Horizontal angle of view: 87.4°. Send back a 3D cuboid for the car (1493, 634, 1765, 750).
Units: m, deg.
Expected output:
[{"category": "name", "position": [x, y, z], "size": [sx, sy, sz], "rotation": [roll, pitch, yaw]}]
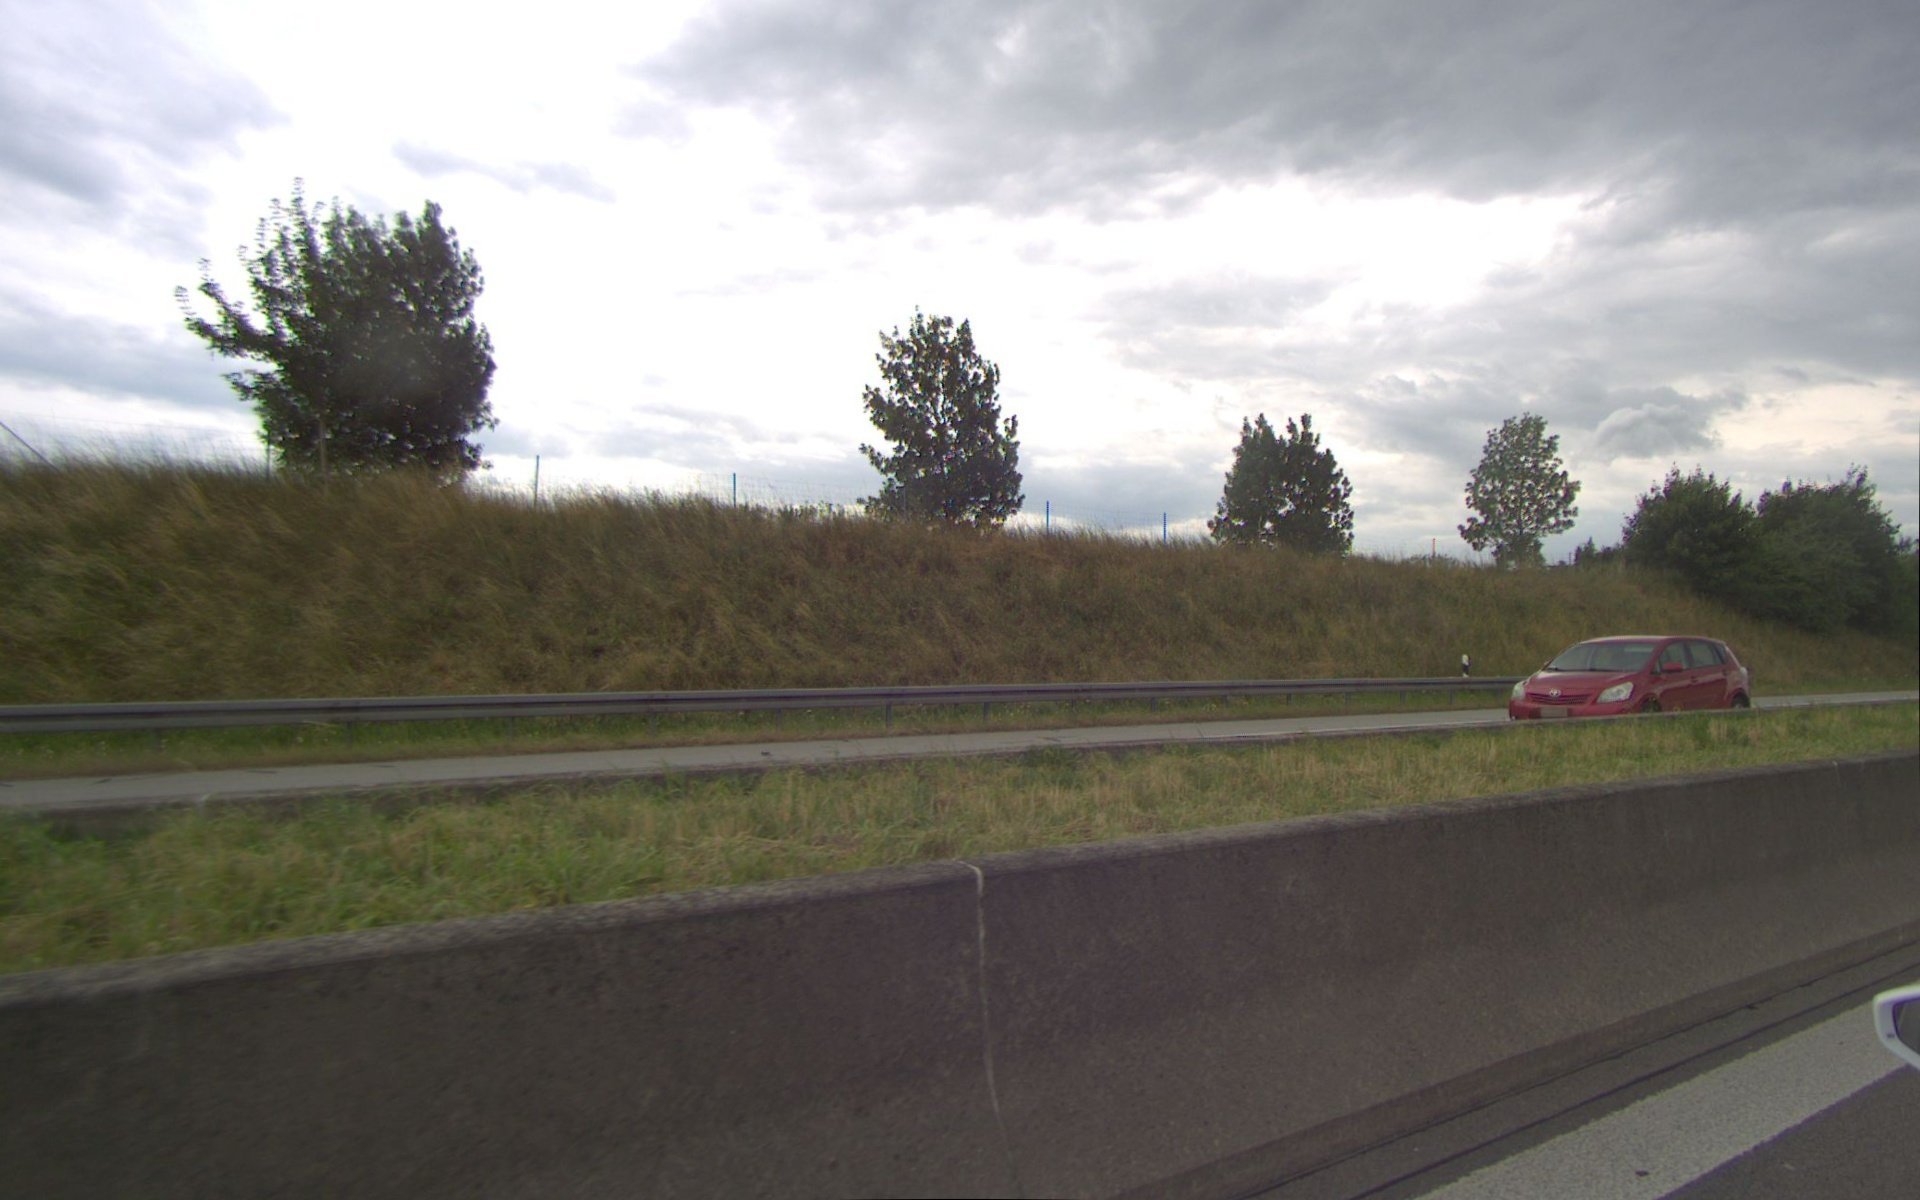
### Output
[{"category": "car", "position": [10.512, 1.353, 15.728], "size": [4.310, 1.592, 1.837], "rotation": [1, -3, -31]}]
